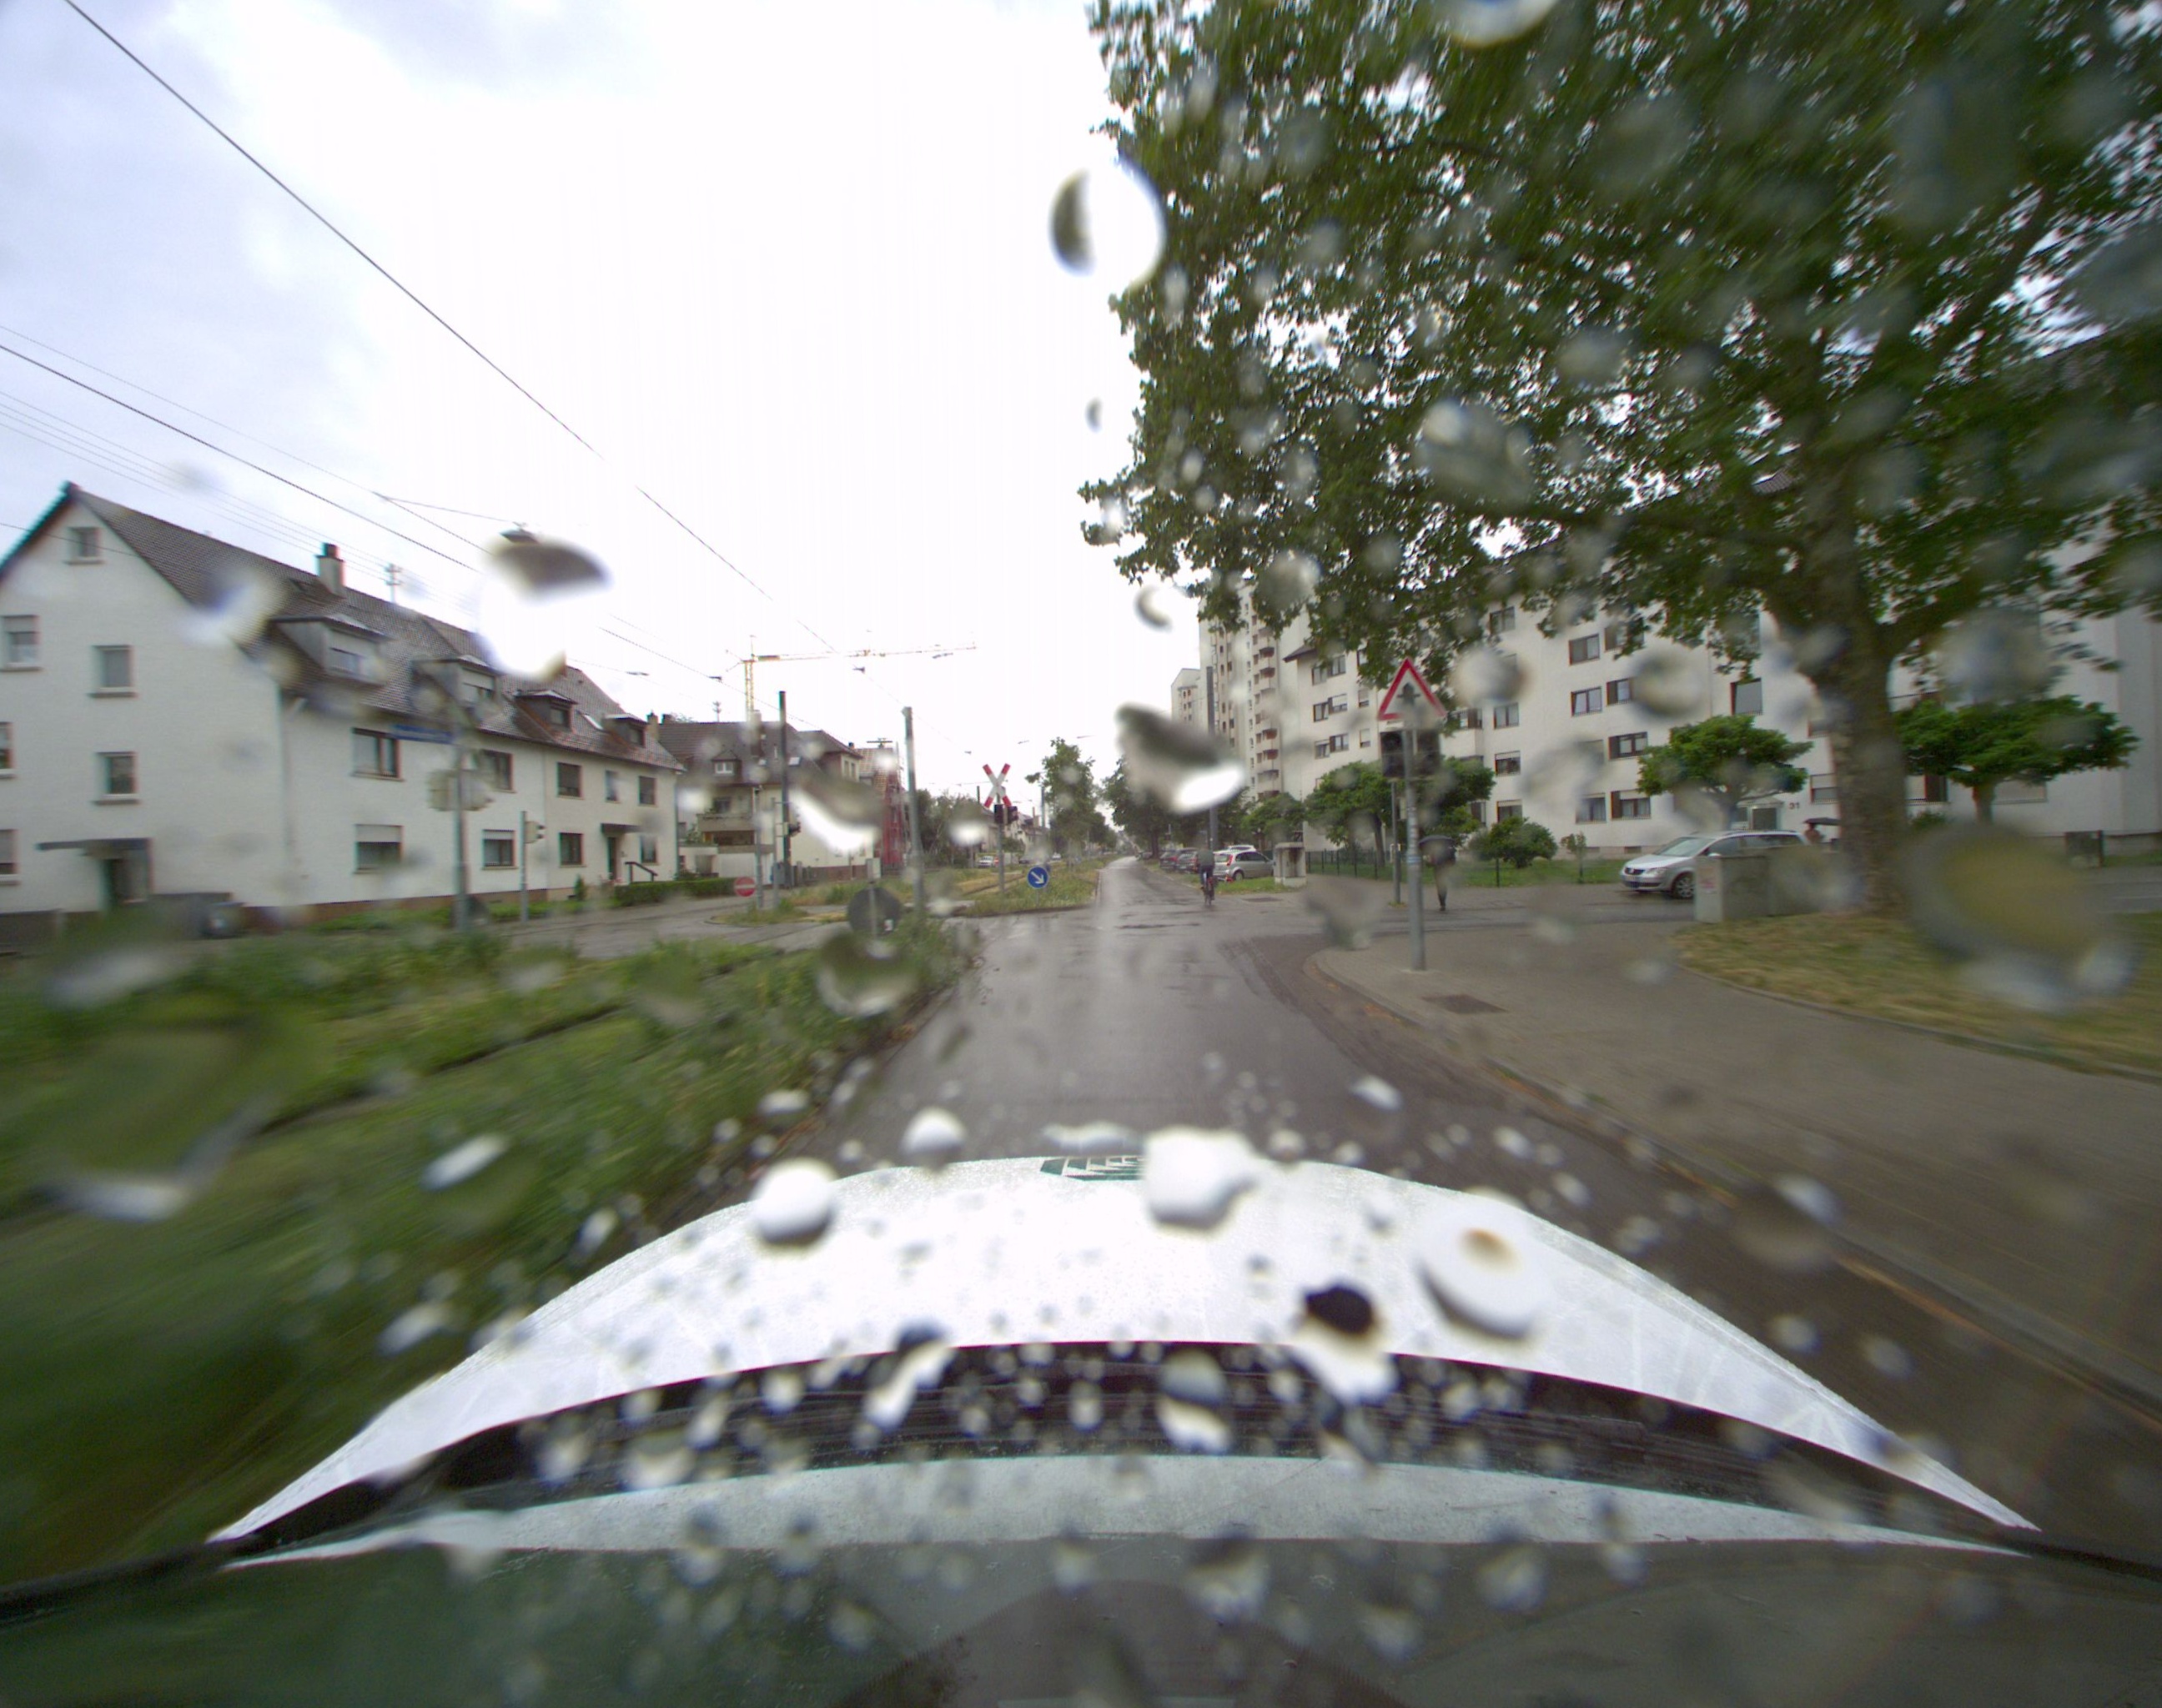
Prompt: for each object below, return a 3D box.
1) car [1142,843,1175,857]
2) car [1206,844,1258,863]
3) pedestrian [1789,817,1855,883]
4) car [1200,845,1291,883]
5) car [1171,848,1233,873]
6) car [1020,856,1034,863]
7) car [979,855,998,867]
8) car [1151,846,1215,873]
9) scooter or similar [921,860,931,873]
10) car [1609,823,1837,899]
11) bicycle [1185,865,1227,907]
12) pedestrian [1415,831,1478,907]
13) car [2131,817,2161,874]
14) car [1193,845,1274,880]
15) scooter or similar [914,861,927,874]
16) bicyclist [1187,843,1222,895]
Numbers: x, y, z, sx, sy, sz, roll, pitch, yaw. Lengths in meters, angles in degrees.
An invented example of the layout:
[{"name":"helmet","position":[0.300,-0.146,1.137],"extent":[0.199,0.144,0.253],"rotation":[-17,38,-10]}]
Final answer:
[{"name":"car","position":[10.873,-0.575,114.466],"extent":[4.160,1.719,1.981],"rotation":[-5,1,-29]},{"name":"car","position":[15.176,-0.078,81.920],"extent":[4.807,1.745,1.991],"rotation":[-2,0,-13]},{"name":"pedestrian","position":[20.761,-0.119,22.830],"extent":[1.174,1.768,0.720],"rotation":[-2,0,-2]},{"name":"car","position":[7.632,0.451,37.731],"extent":[4.016,1.508,1.765],"rotation":[-3,-2,-34]},{"name":"car","position":[7.904,0.385,52.989],"extent":[4.020,1.429,1.715],"rotation":[-3,0,-39]},{"name":"car","position":[-8.994,0.894,135.678],"extent":[1.656,1.244,4.076],"rotation":[0,0,4]},{"name":"car","position":[-12.098,0.932,106.645],"extent":[1.702,1.542,4.428],"rotation":[0,0,4]},{"name":"car","position":[7.048,0.357,56.034],"extent":[4.372,1.651,1.836],"rotation":[-3,0,-39]},{"name":"scooter or similar","position":[-15.332,1.251,80.520],"extent":[0.390,1.180,1.289],"rotation":[-2,0,18]},{"name":"car","position":[16.401,0.174,20.993],"extent":[4.275,1.680,1.873],"rotation":[-3,0,3]},{"name":"bicycle","position":[3.596,0.893,23.657],"extent":[0.807,1.096,2.517],"rotation":[-3,0,0]},{"name":"pedestrian","position":[9.148,0.366,20.450],"extent":[1.092,1.813,1.438],"rotation":[-2,0,12]},{"name":"car","position":[30.747,-0.332,21.146],"extent":[4.275,1.505,1.939],"rotation":[-3,0,3]},{"name":"car","position":[7.708,0.410,41.110],"extent":[4.019,1.508,1.686],"rotation":[-3,-2,-37]},{"name":"scooter or similar","position":[-15.255,1.300,77.413],"extent":[0.435,1.129,1.291],"rotation":[-2,0,32]},{"name":"bicyclist","position":[3.575,0.430,23.637],"extent":[0.807,1.432,1.060],"rotation":[-3,0,0]}]
